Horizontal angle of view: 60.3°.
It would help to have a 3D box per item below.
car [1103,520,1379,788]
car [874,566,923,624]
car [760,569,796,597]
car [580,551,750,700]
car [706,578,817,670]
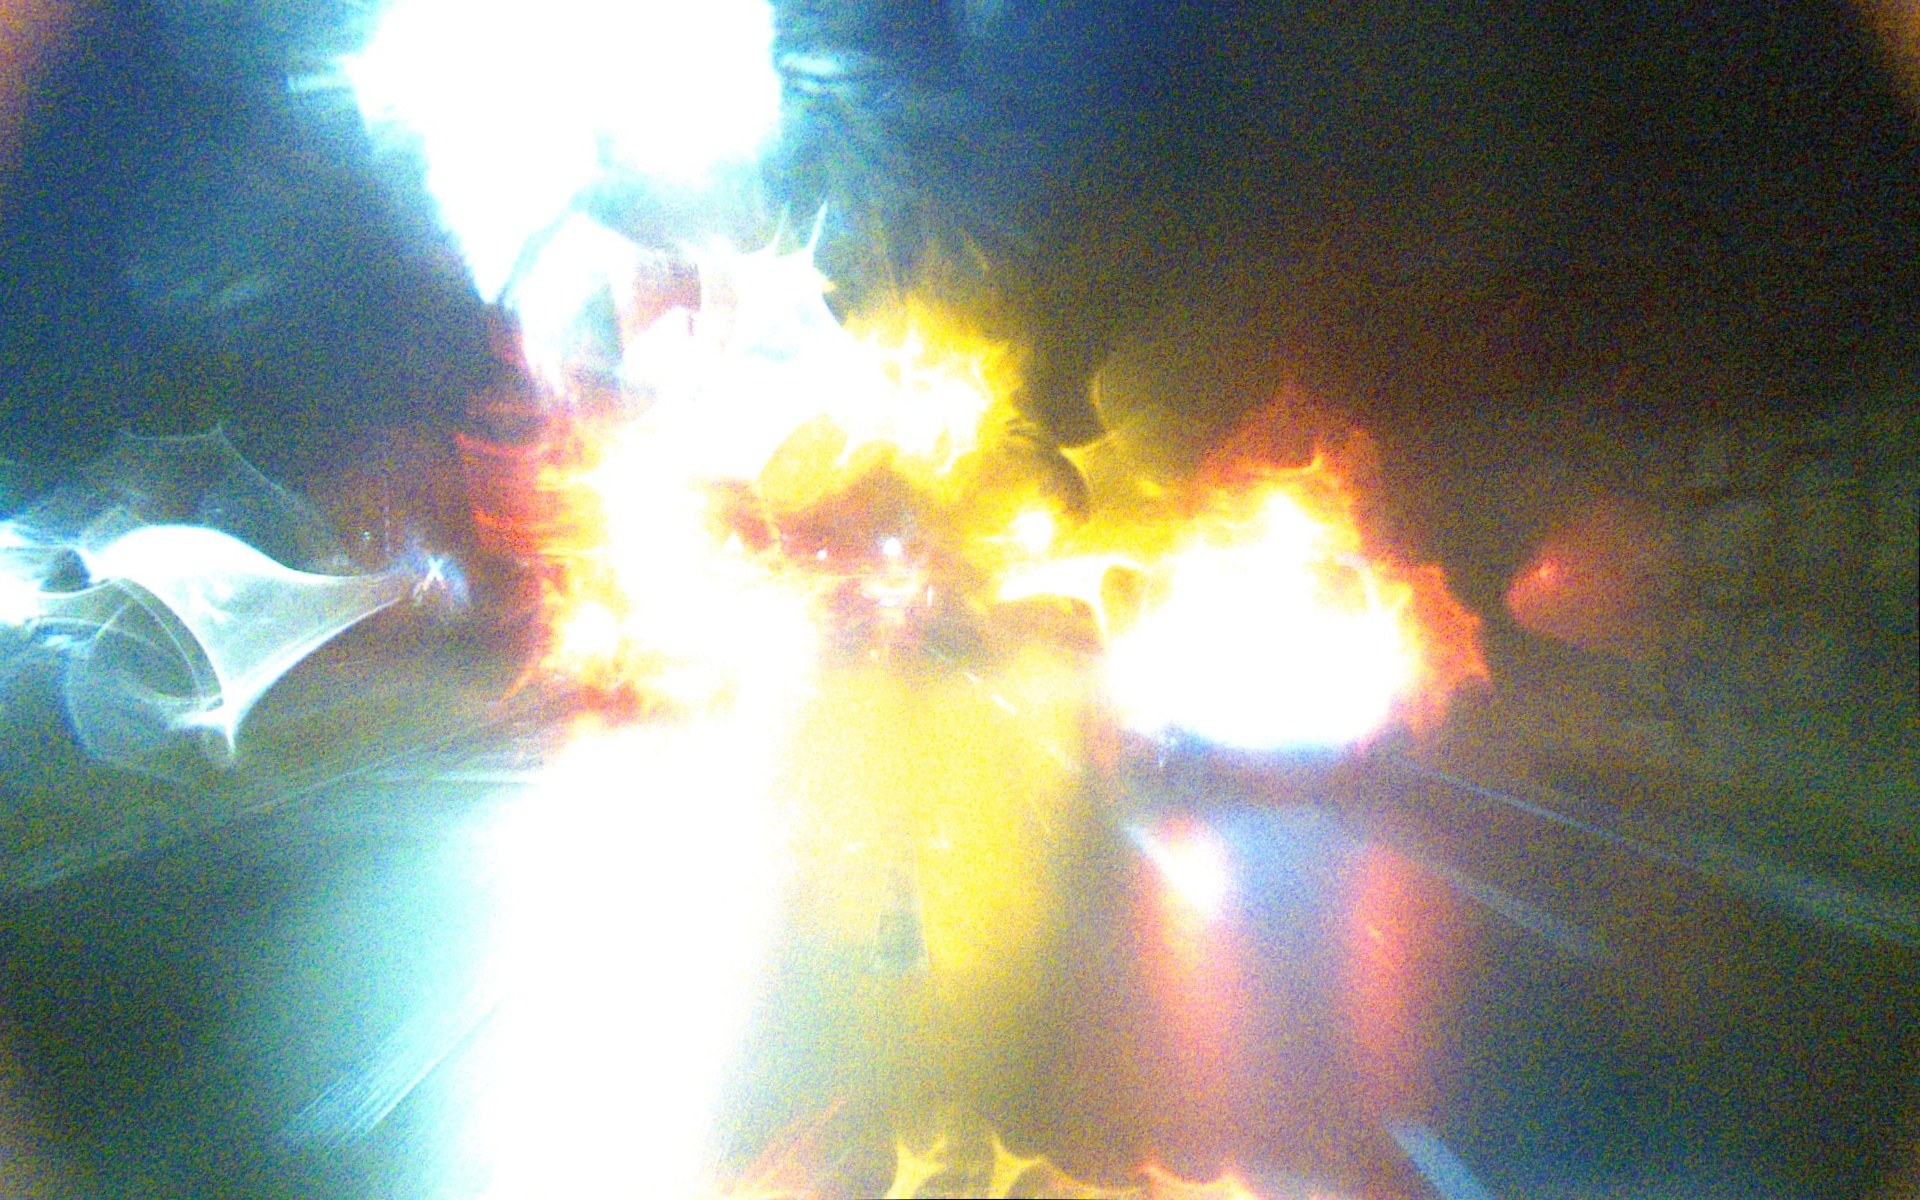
[{"bbox_3d":[2.353,0.334,14.991,1.754,2.057,4.581,0,2,0],"label":"car"},{"bbox_3d":[-2.332,-0.200,61.700,1.756,2.057,4.577,0,0,-3],"label":"car"},{"bbox_3d":[-12.752,-1.171,116.110,1.953,1.746,3.999,4,-1,0],"label":"car"},{"bbox_3d":[-3.869,0.287,22.350,1.748,1.813,4.433,0,1,-3],"label":"car"},{"bbox_3d":[-3.545,0.387,30.124,1.748,1.537,4.433,-1,1,-4],"label":"car"}]
